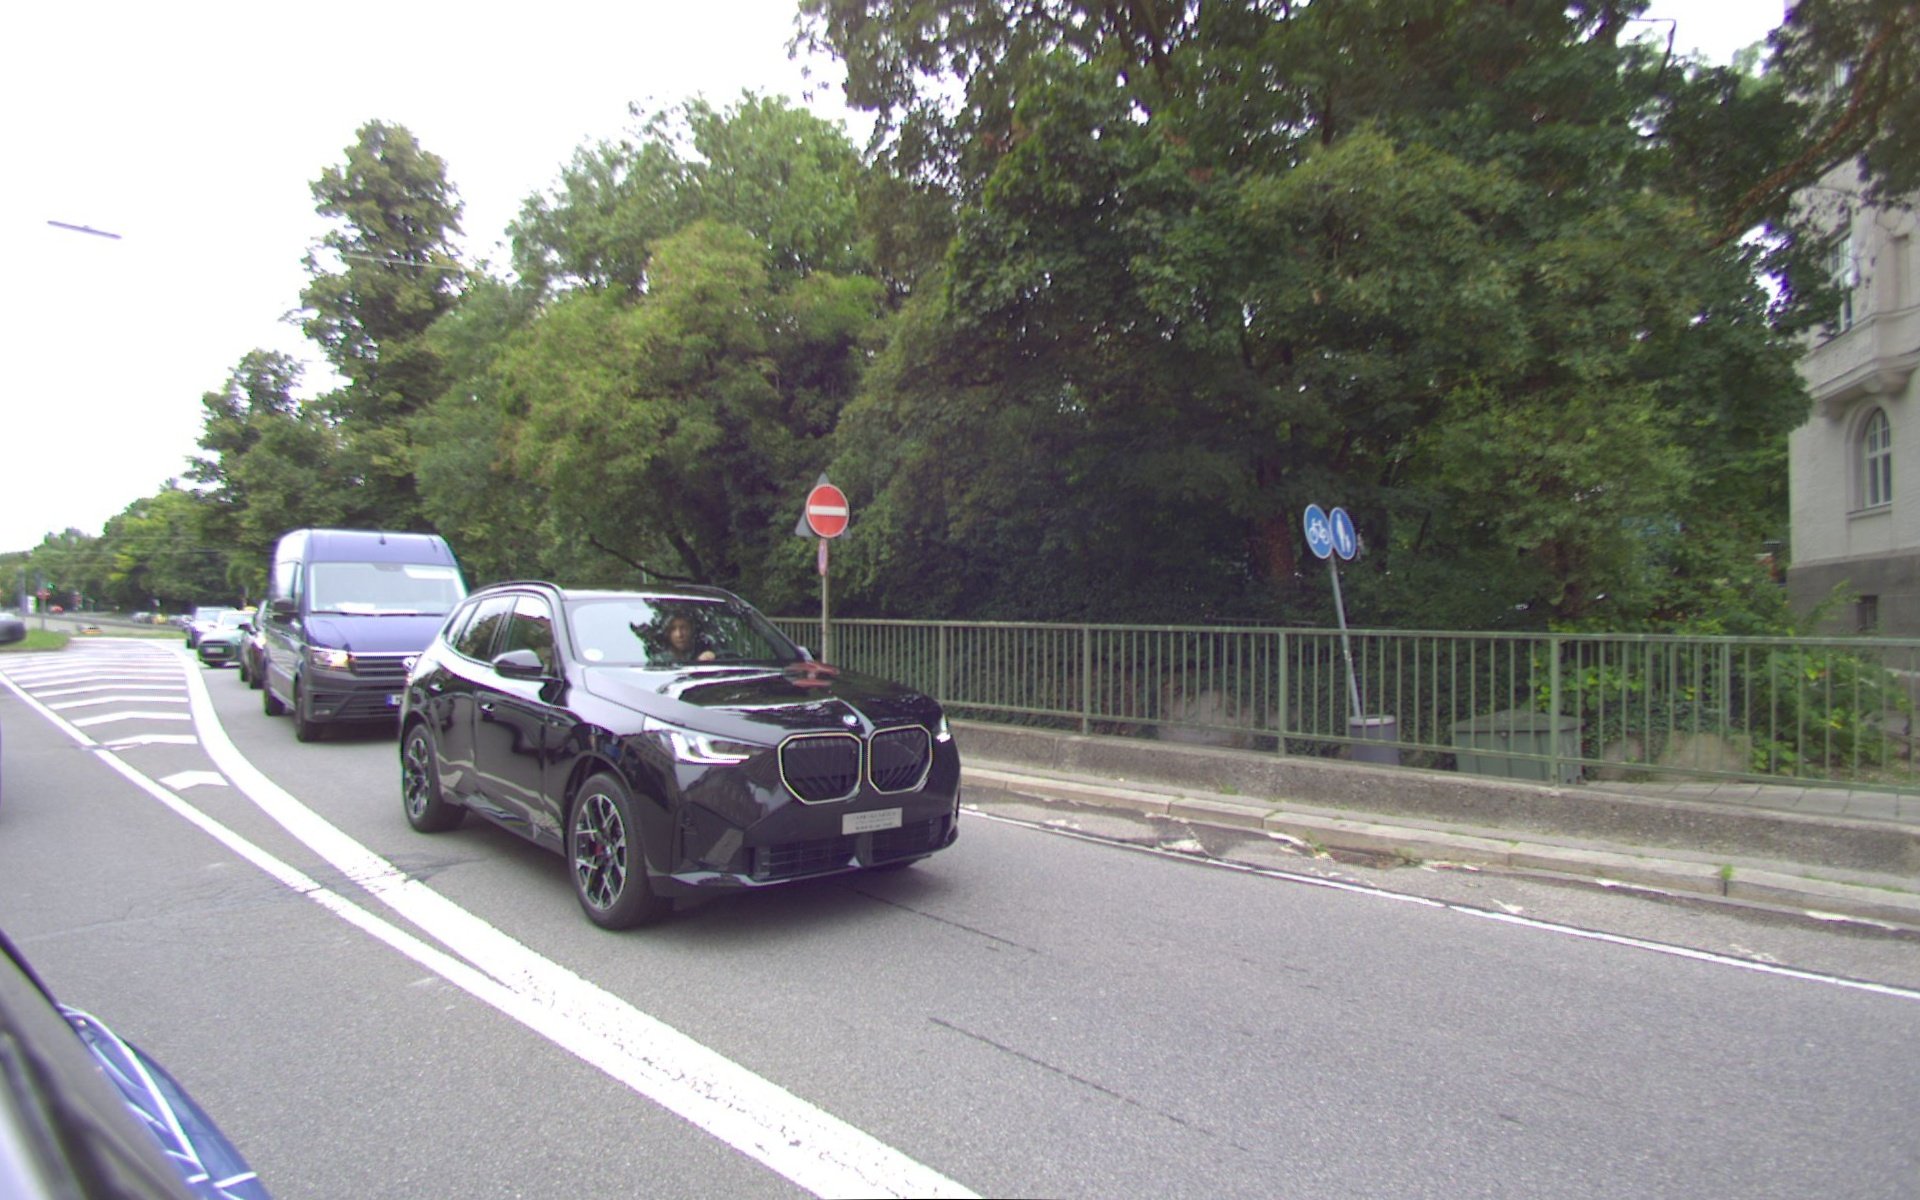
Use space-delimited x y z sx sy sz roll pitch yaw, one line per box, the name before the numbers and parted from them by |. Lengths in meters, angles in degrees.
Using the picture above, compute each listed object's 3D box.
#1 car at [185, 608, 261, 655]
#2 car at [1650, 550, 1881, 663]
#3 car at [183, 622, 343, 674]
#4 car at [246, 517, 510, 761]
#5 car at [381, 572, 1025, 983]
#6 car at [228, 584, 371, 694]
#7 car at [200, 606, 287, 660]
car | -30.124 1.250 41.296 2.280 1.742 5.225 -1 0 -38
car | 24.017 0.226 30.429 4.758 3.199 2.473 0 -2 14
car | -18.211 1.223 26.630 1.479 1.223 3.603 0 -1 7
car | -7.947 0.412 13.429 1.975 2.510 6.243 0 -1 -40
car | -1.832 0.717 6.116 1.894 1.577 4.297 2 -2 -44
car | -13.764 0.734 20.906 1.975 1.951 5.817 -1 0 -38
car | -23.863 1.060 33.599 2.071 1.602 5.579 -1 0 -38
